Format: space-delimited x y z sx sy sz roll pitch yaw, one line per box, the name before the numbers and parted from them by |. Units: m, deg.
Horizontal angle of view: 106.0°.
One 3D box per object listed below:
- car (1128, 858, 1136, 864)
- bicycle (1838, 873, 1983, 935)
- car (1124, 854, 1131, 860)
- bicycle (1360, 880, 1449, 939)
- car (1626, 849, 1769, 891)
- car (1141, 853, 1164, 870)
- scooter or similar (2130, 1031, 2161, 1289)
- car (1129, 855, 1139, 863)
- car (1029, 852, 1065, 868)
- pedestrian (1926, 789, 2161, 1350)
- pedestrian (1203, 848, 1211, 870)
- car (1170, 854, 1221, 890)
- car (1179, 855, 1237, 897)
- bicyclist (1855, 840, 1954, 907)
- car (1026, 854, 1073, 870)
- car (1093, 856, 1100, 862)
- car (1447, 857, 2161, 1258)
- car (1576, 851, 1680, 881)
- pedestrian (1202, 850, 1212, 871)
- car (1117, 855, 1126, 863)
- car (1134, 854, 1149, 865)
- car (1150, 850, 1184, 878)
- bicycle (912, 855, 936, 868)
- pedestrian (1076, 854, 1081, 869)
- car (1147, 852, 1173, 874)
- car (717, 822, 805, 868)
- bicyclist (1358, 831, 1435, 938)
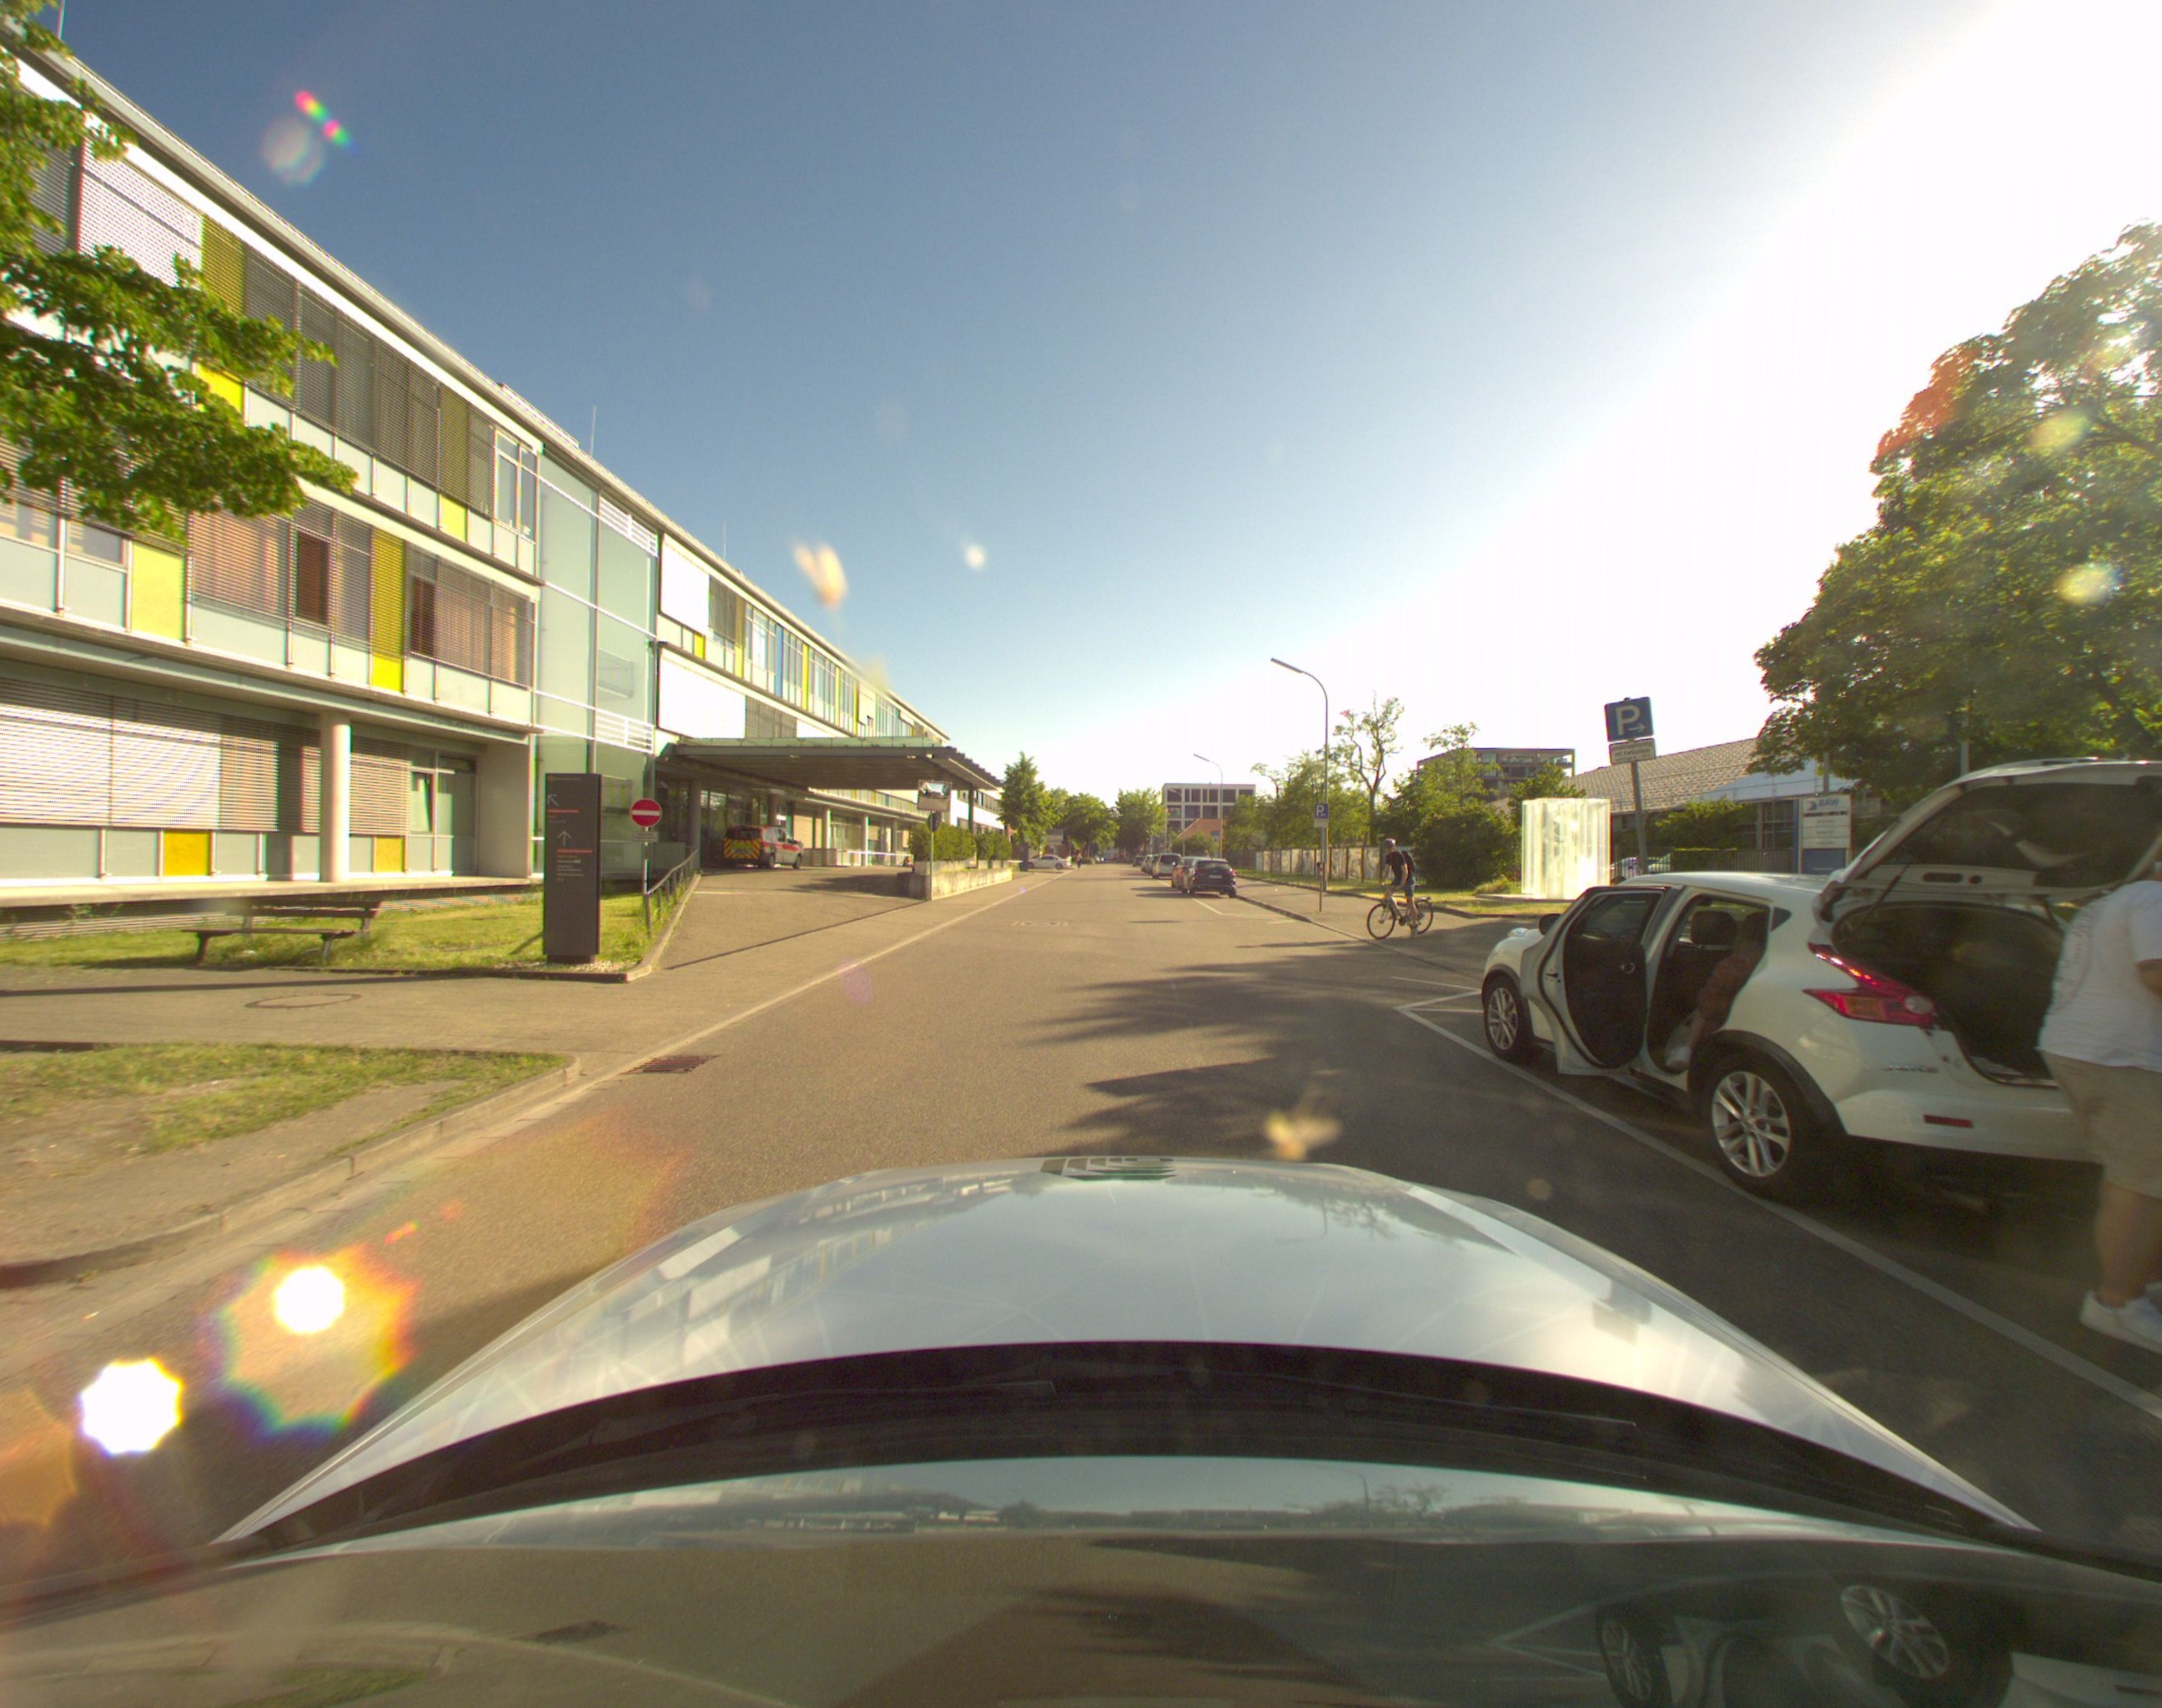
car | 12.198 1.666 195.291 1.942 1.578 3.839 1 0 3
bicycle | 16.177 0.962 15.931 1.881 1.143 0.671 -1 0 17
car | 12.029 0.819 210.890 1.985 1.465 3.839 1 0 3
bicycle | 6.485 1.086 16.291 1.892 1.008 0.694 -2 1 -33
car | 25.594 0.641 33.903 4.618 1.668 1.998 0 0 -4
car | 6.770 0.689 77.399 1.807 1.588 4.262 2 0 0
scooter or similar | 4.173 1.131 2.624 0.686 0.906 0.708 2 0 20
car | 10.815 1.027 165.993 1.761 1.440 4.000 0 0 1
car | -3.439 0.598 83.132 3.624 1.469 1.613 2 0 -1
pedestrian | 3.584 0.679 2.847 0.583 1.745 0.708 2 0 20
pedestrian | 9.841 0.391 63.513 0.519 1.708 0.522 2 -1 -1
car | 5.294 0.776 38.171 1.802 1.510 4.723 2 0 1
car | 4.981 0.827 32.390 1.695 1.487 4.216 2 0 1
bicyclist | 16.214 0.368 16.068 1.088 1.268 0.866 0 0 17
car | -3.055 0.749 80.037 4.502 1.367 1.698 3 0 -3
car | 4.010 1.203 206.357 1.761 1.487 4.000 0 0 1
car | 4.055 0.811 5.250 1.658 1.513 4.117 2 0 3
car | 25.986 0.552 38.765 3.877 1.379 1.674 0 0 -2
pedestrian | 9.738 0.492 62.961 0.679 1.611 0.540 2 -1 -1
car | 8.326 1.042 168.772 1.761 1.548 4.066 0 0 1
car | 7.764 0.708 105.181 1.810 1.453 4.217 0 0 3
car | 5.693 0.646 54.458 1.802 1.722 4.705 2 0 1
bicycle | -11.846 0.589 61.525 1.709 0.994 0.536 0 0 0
pedestrian | -0.255 0.786 84.580 0.536 1.524 0.608 0 0 3
car | 6.173 0.703 63.828 1.694 1.606 4.355 2 0 2
car | -14.024 -0.369 35.993 1.912 1.891 4.713 0 0 2
bicyclist | 6.260 0.568 16.173 1.056 2.013 0.950 -2 1 -31
